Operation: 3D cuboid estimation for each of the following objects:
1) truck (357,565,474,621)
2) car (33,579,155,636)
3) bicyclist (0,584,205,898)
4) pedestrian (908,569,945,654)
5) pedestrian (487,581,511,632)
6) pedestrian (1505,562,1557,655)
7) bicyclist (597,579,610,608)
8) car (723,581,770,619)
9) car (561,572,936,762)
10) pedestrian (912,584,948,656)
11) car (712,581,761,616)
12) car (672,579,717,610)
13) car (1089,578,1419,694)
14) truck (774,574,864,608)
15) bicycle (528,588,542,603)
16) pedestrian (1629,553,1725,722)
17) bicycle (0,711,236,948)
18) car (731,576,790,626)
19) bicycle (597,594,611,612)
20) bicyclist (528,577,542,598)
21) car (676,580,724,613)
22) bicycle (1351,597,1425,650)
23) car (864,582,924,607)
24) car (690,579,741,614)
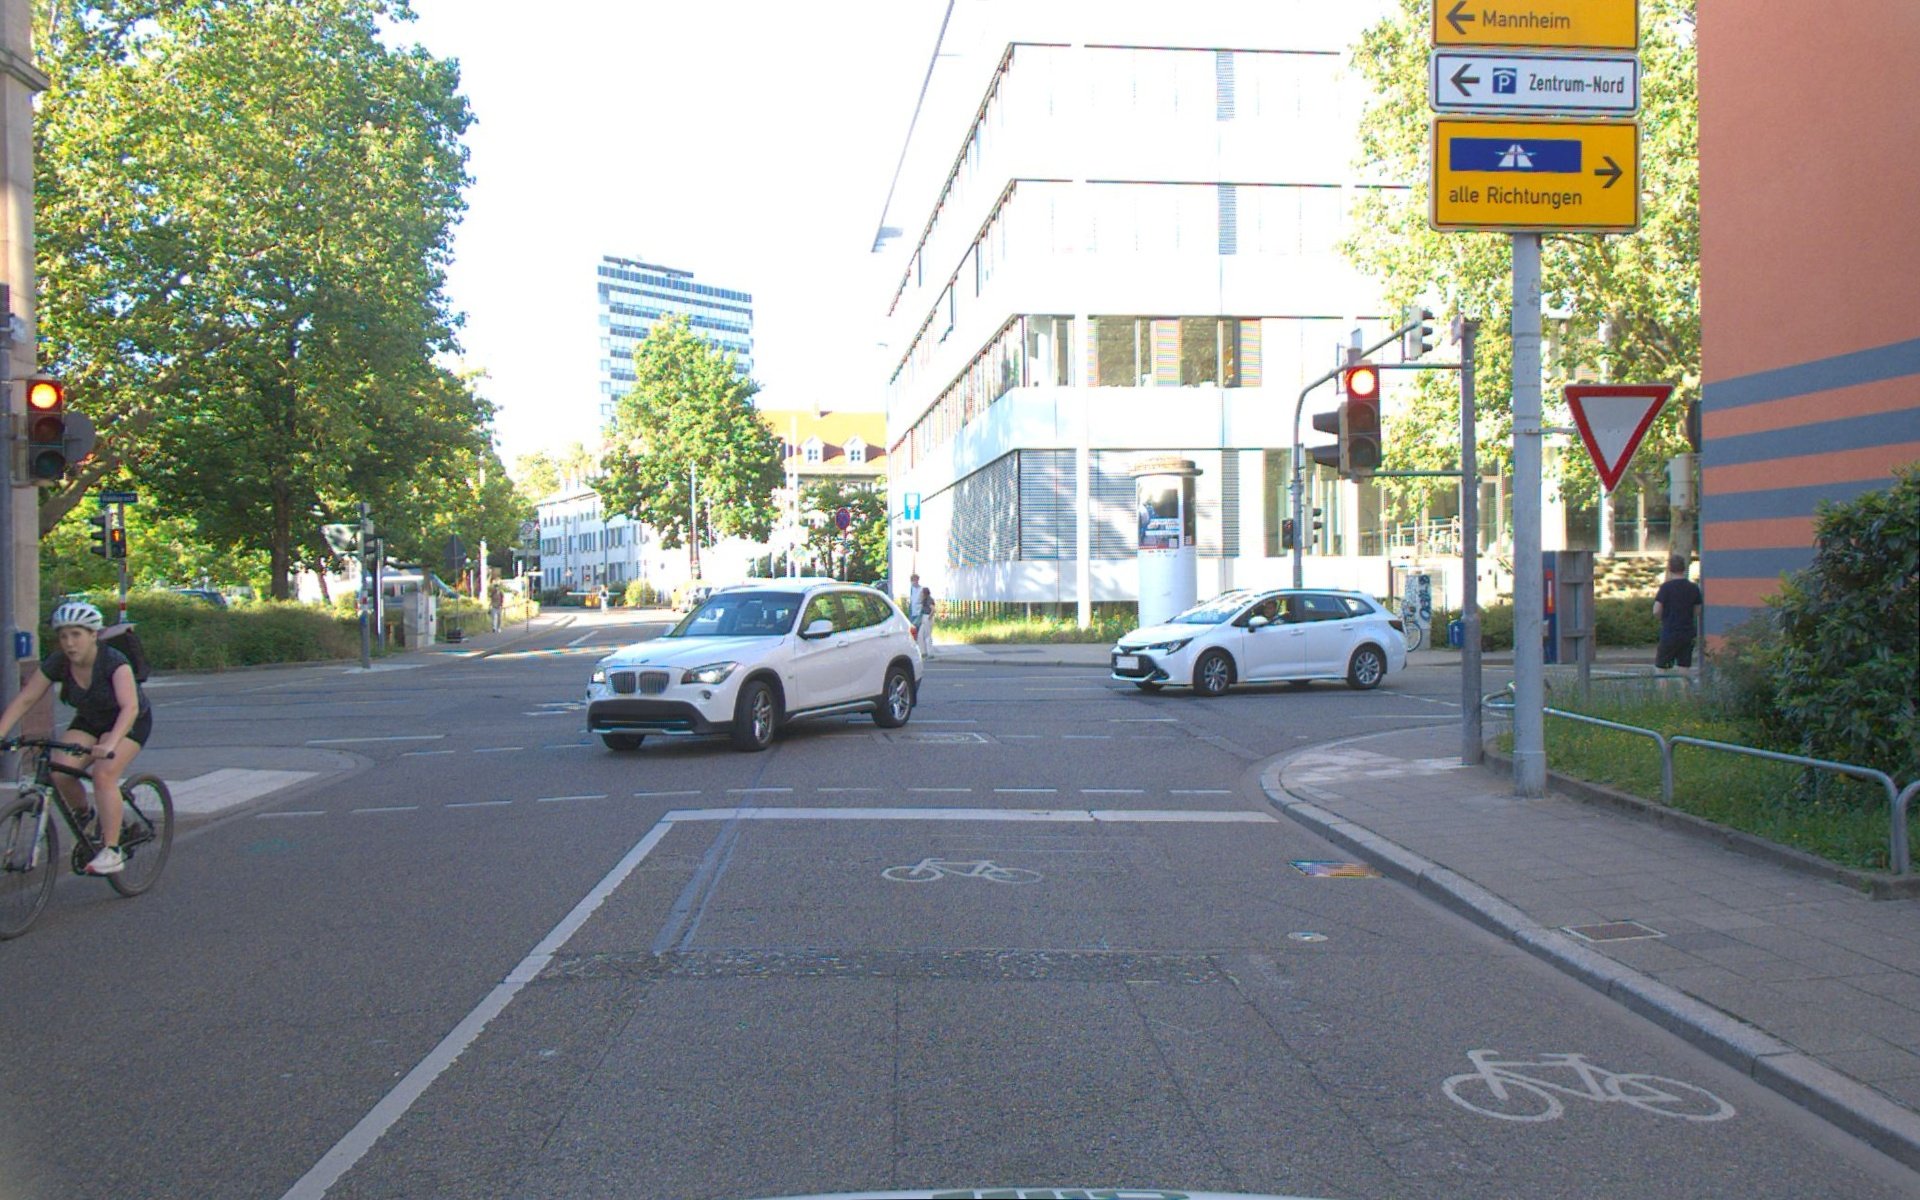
[{"bbox_3d":[-24.560,-0.328,74.757,4.741,2.441,2.082,0,1,-11],"label":"truck"},{"bbox_3d":[-39.971,0.328,76.442,4.472,2.433,2.069,-2,0,-10],"label":"car"},{"bbox_3d":[-4.462,0.686,8.519,0.671,1.501,0.871,-3,0,-1],"label":"bicyclist"},{"bbox_3d":[-0.760,0.264,37.788,0.547,1.882,0.678,-3,1,15],"label":"pedestrian"},{"bbox_3d":[-16.319,0.231,58.564,0.692,1.753,0.949,-2,0,-20],"label":"pedestrian"},{"bbox_3d":[11.758,0.169,34.099,0.817,1.872,0.709,1,0,3],"label":"pedestrian"},{"bbox_3d":[-19.230,-0.369,89.301,0.604,1.559,0.901,-1,0,-9],"label":"bicyclist"},{"bbox_3d":[-9.437,-0.024,72.797,1.854,1.582,4.404,0,1,-10],"label":"car"},{"bbox_3d":[-1.971,0.590,16.775,1.652,1.610,4.271,-3,0,26],"label":"car"},{"bbox_3d":[-0.671,0.436,37.007,0.551,1.567,0.673,-4,1,-19],"label":"pedestrian"},{"bbox_3d":[-10.604,-0.099,78.151,1.856,1.582,4.400,0,1,-14],"label":"car"},{"bbox_3d":[-15.341,-0.332,95.265,1.860,1.684,4.391,0,1,-19],"label":"car"},{"bbox_3d":[4.260,0.464,23.876,4.474,1.501,1.877,-1,0,-26],"label":"car"},{"bbox_3d":[-8.770,-0.555,102.923,5.258,2.049,1.989,-1,0,-20],"label":"truck"},{"bbox_3d":[-32.438,-0.334,126.287,0.850,1.027,2.407,-3,0,-11],"label":"bicycle"},{"bbox_3d":[8.145,0.414,18.822,0.692,1.872,0.837,1,0,-1],"label":"pedestrian"},{"bbox_3d":[-4.459,1.126,8.504,0.671,0.940,1.766,-3,0,-1],"label":"bicycle"},{"bbox_3d":[-7.835,-0.009,64.563,2.047,1.827,4.404,0,1,-10],"label":"car"},{"bbox_3d":[-19.220,0.152,89.290,0.604,0.986,1.837,-1,1,-9],"label":"bicycle"},{"bbox_3d":[-32.466,-0.953,126.300,0.850,1.541,1.016,-3,0,-12],"label":"bicyclist"},{"bbox_3d":[-14.201,-0.227,90.132,1.860,1.684,4.391,0,1,-19],"label":"car"},{"bbox_3d":[9.349,0.497,36.168,0.503,1.067,1.667,-3,4,-35],"label":"bicycle"},{"bbox_3d":[-4.156,-0.339,104.178,3.502,1.573,1.549,-1,0,-20],"label":"car"},{"bbox_3d":[-12.668,-0.221,85.369,1.860,1.684,4.391,0,1,-19],"label":"car"}]
